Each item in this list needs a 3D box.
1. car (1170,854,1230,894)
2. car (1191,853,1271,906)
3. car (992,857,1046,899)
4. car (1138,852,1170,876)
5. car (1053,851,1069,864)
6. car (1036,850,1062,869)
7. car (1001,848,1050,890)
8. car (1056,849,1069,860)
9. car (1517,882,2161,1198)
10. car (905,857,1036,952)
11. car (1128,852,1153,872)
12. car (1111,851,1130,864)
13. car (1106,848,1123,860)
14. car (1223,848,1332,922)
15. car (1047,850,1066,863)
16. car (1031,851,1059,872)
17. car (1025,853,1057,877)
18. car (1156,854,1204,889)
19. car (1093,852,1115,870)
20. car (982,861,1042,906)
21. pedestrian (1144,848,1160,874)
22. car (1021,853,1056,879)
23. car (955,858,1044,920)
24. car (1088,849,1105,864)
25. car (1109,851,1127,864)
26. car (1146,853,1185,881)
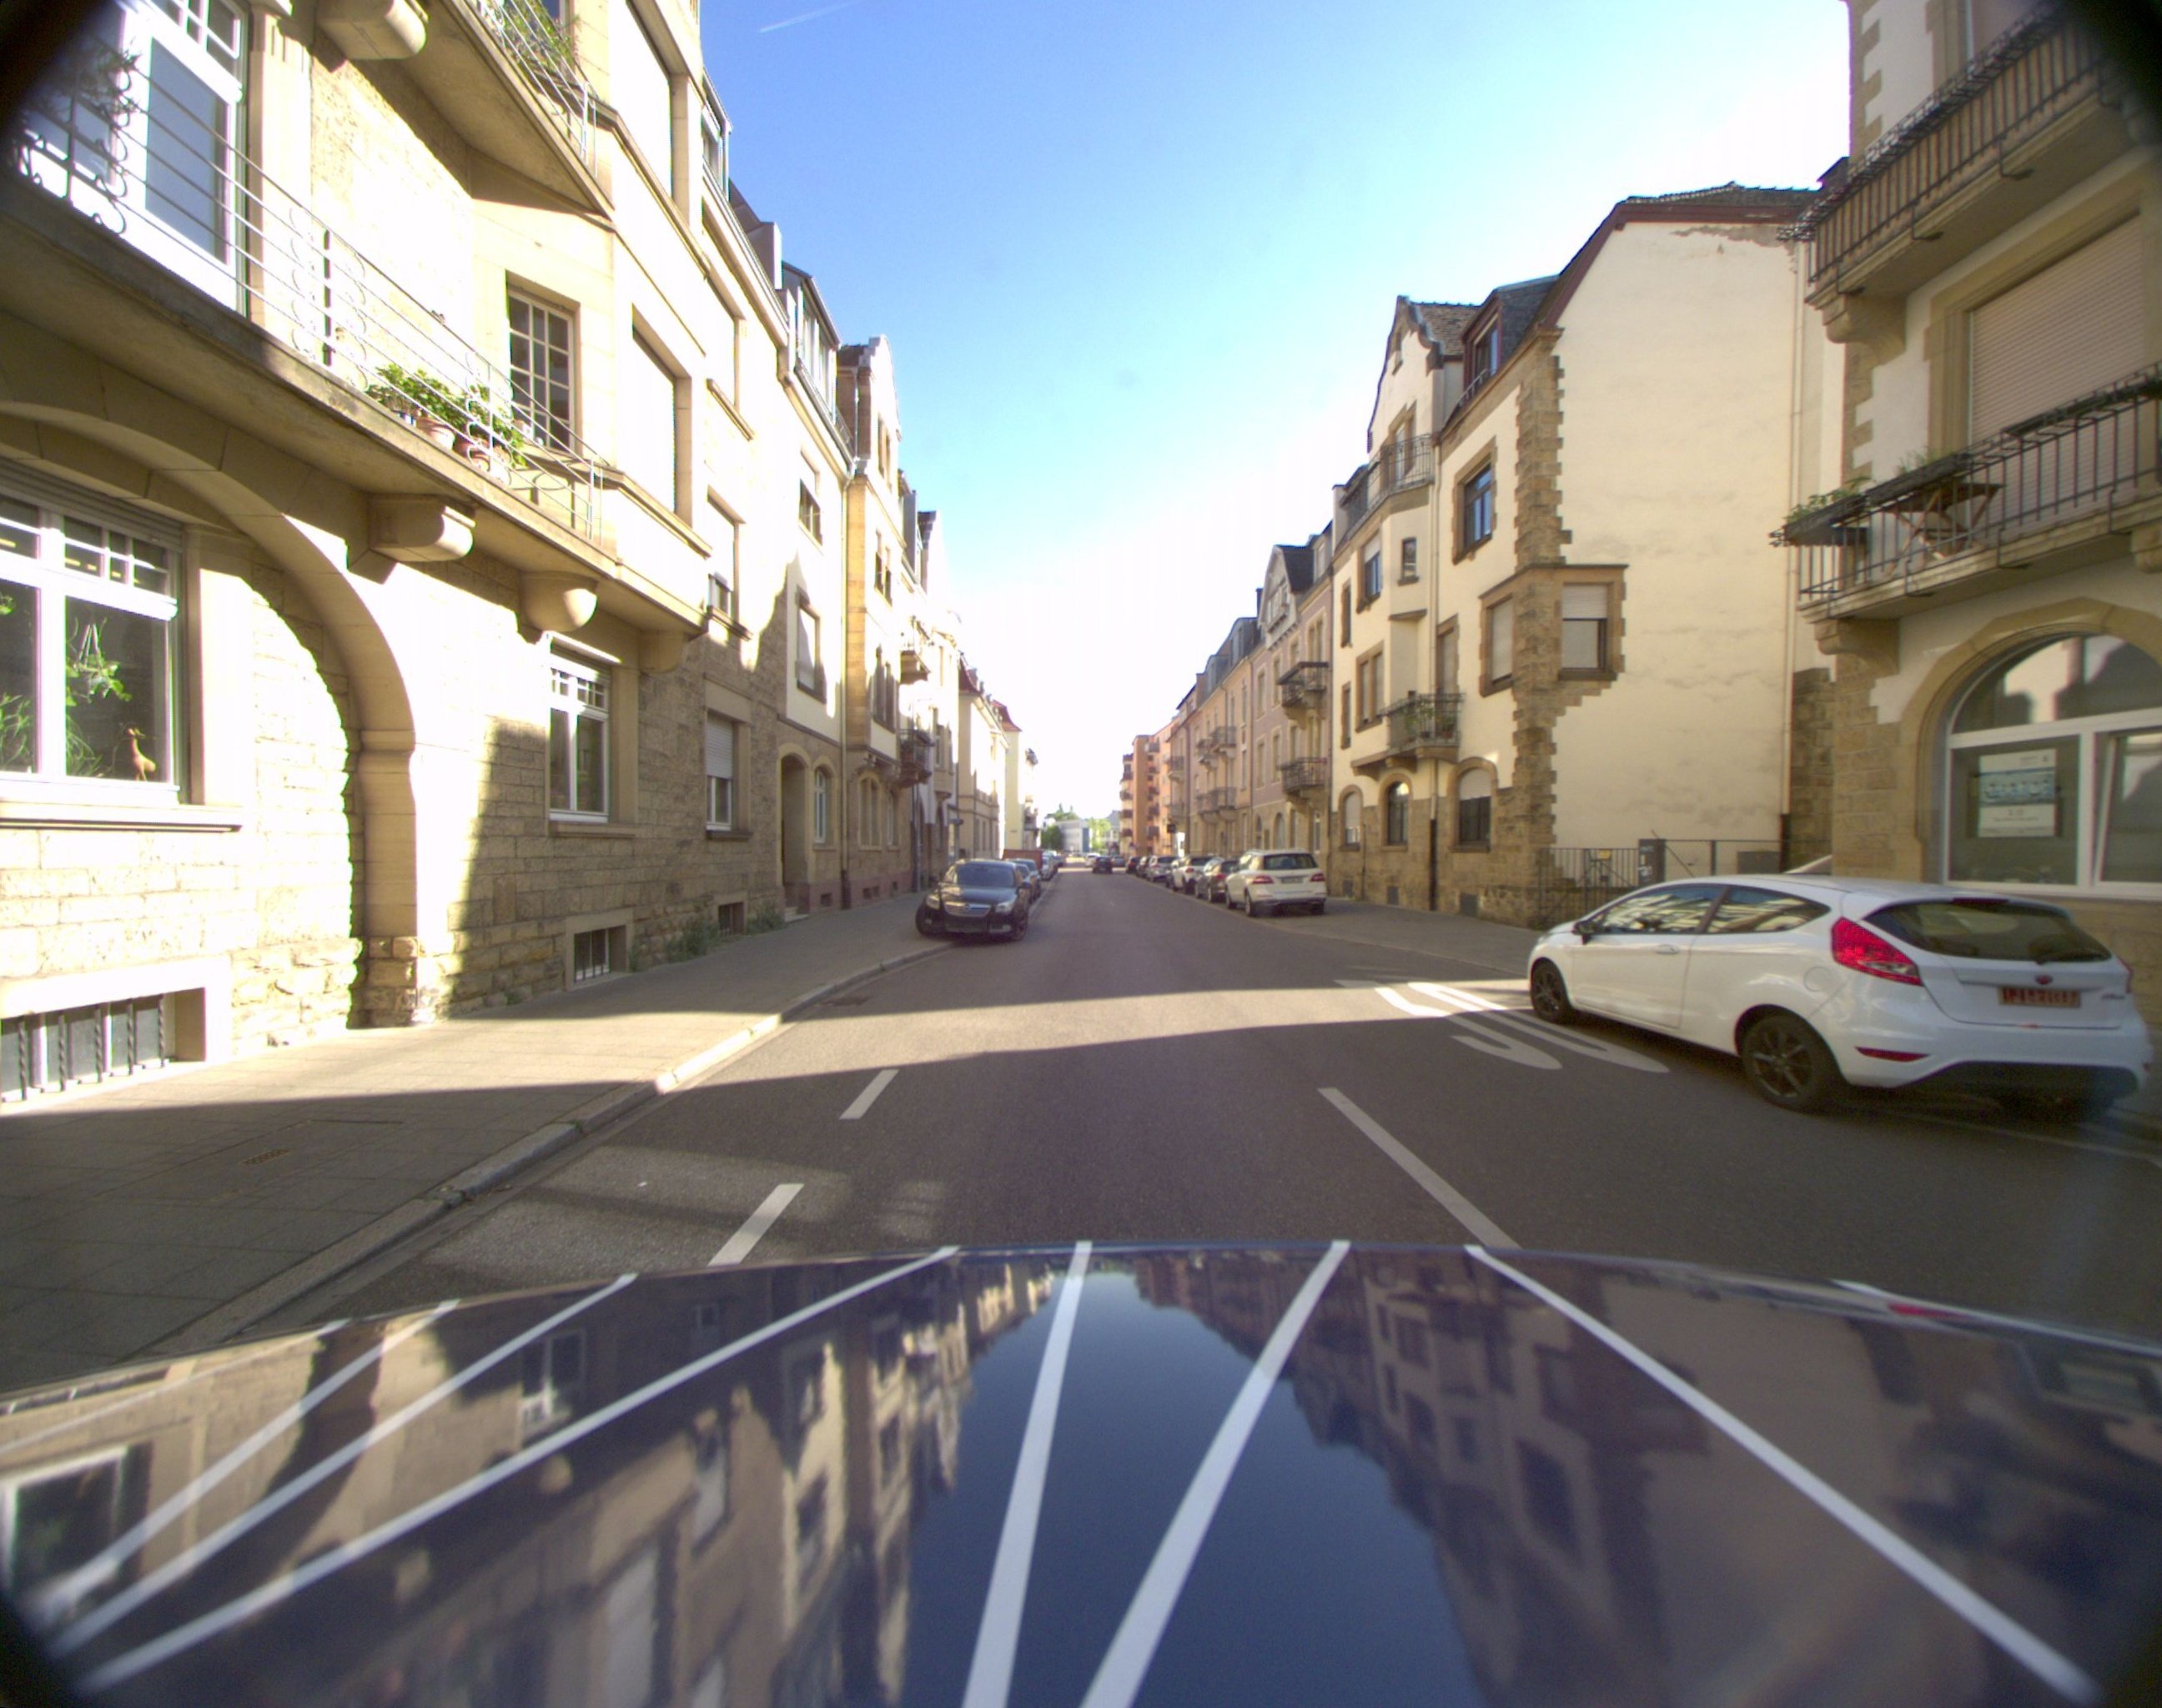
[{"bbox_3d":[4.986,0.796,32.367,1.890,1.500,4.320,-2,1,1],"label":"car"},{"bbox_3d":[5.125,0.821,26.546,1.890,1.500,4.320,-4,1,1],"label":"car"},{"bbox_3d":[-2.383,0.892,30.121,1.824,1.415,4.320,1,1,-1],"label":"car"},{"bbox_3d":[4.993,0.670,52.352,1.809,1.500,4.003,-2,1,1],"label":"car"},{"bbox_3d":[-2.583,0.433,99.954,2.005,1.500,4.320,1,1,-1],"label":"car"},{"bbox_3d":[-2.671,0.454,64.500,2.005,1.500,4.320,1,1,-1],"label":"car"},{"bbox_3d":[-2.557,0.652,35.811,2.005,1.828,4.320,1,1,-1],"label":"car"},{"bbox_3d":[-2.941,0.071,123.337,2.005,1.722,4.320,1,1,-1],"label":"car"},{"bbox_3d":[5.114,1.015,5.681,1.656,1.449,3.643,2,0,2],"label":"car"},{"bbox_3d":[-2.035,0.883,15.258,2.024,1.500,4.111,2,1,-1],"label":"car"},{"bbox_3d":[4.894,0.642,62.974,1.793,1.500,4.320,-2,1,1],"label":"car"},{"bbox_3d":[4.674,0.410,91.392,2.005,1.500,4.320,1,1,-1],"label":"car"},{"bbox_3d":[4.518,0.004,101.959,2.005,1.500,4.320,1,1,-1],"label":"car"},{"bbox_3d":[5.197,0.753,20.685,1.890,1.717,4.211,-2,1,1],"label":"car"},{"bbox_3d":[-2.843,0.268,88.980,2.005,1.500,4.320,1,1,-1],"label":"car"},{"bbox_3d":[-2.743,0.538,58.667,2.005,1.500,4.320,1,1,-1],"label":"car"},{"bbox_3d":[-2.747,0.739,52.642,2.005,1.500,4.320,1,1,-1],"label":"car"},{"bbox_3d":[4.858,0.818,37.807,1.857,1.491,4.318,-2,1,1],"label":"car"},{"bbox_3d":[1.879,0.588,63.377,1.656,1.449,3.642,0,1,-1],"label":"car"},{"bbox_3d":[-2.231,0.928,25.379,1.661,1.272,3.729,1,1,-1],"label":"car"},{"bbox_3d":[5.568,0.547,59.403,1.066,2.002,0.952,-2,1,-3],"label":"pedestrian"},{"bbox_3d":[-2.651,0.719,47.868,2.005,1.500,4.320,1,1,-1],"label":"car"},{"bbox_3d":[-2.095,0.875,20.800,2.005,1.499,4.321,1,0,-1],"label":"car"},{"bbox_3d":[1.560,0.242,77.559,1.702,1.474,3.534,1,0,1],"label":"car"},{"bbox_3d":[4.623,0.393,96.207,2.005,1.500,4.320,1,1,-1],"label":"car"},{"bbox_3d":[5.023,0.735,45.833,1.890,1.500,4.320,-2,1,1],"label":"car"}]
